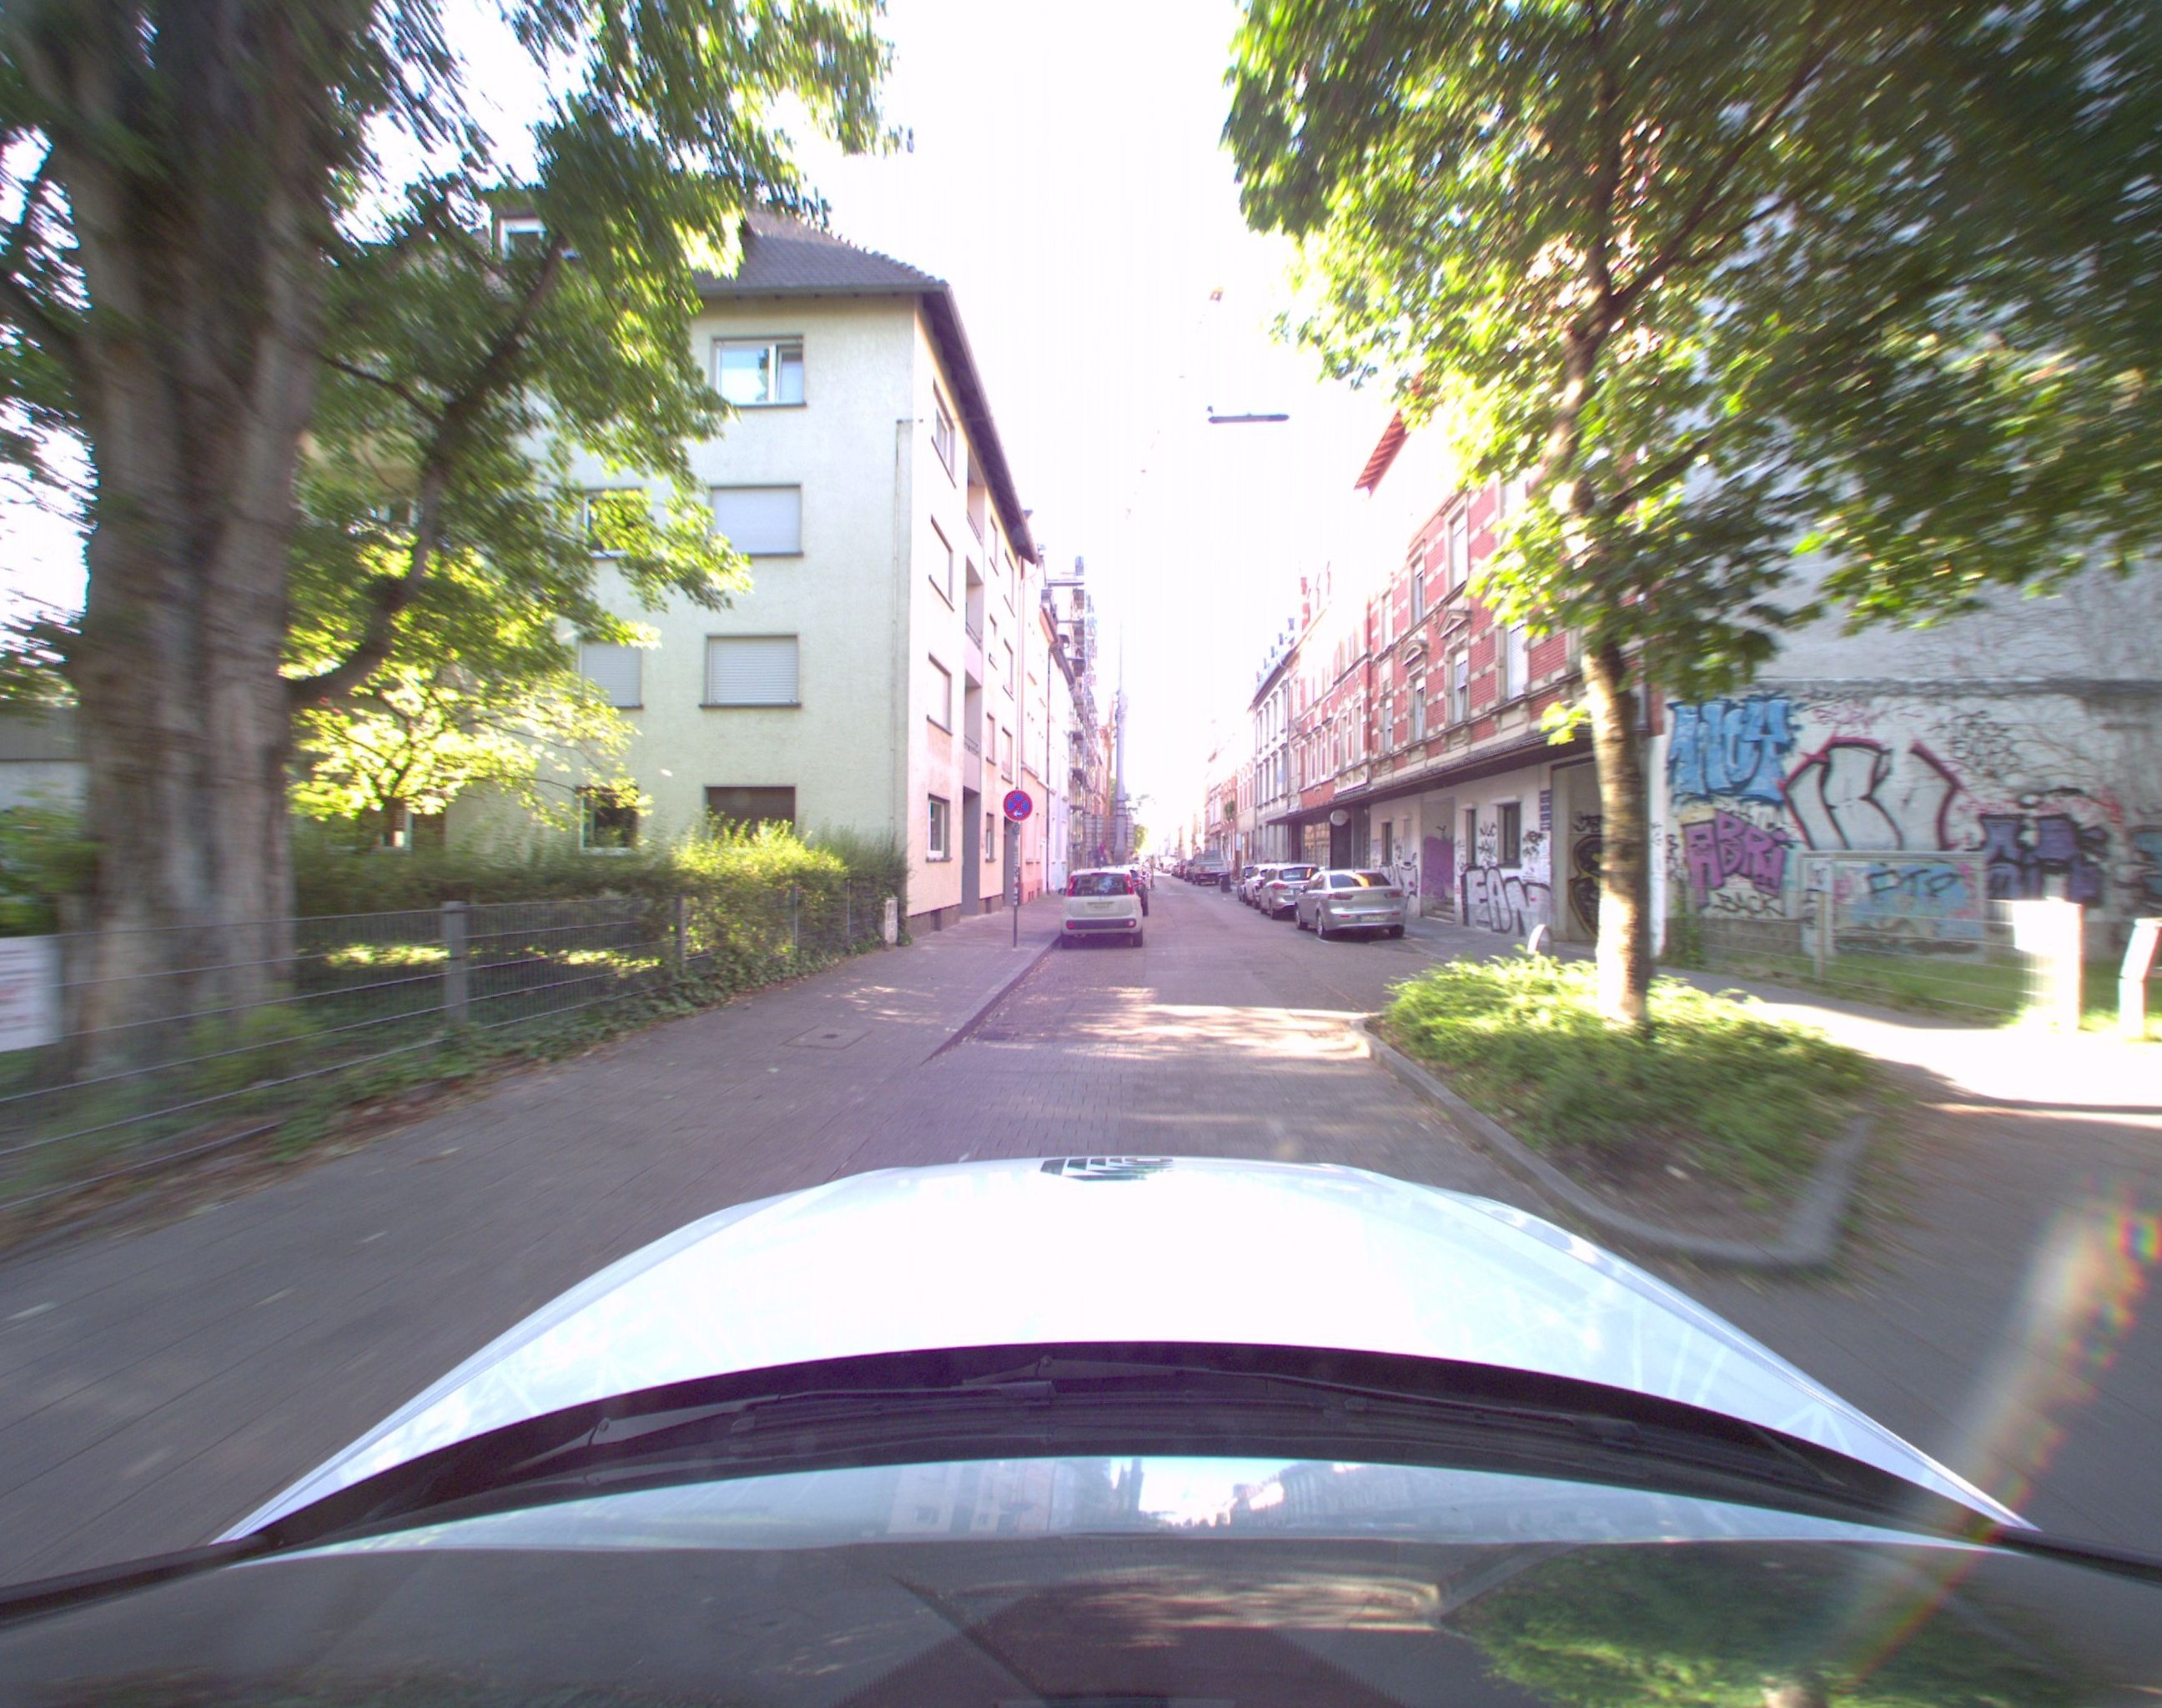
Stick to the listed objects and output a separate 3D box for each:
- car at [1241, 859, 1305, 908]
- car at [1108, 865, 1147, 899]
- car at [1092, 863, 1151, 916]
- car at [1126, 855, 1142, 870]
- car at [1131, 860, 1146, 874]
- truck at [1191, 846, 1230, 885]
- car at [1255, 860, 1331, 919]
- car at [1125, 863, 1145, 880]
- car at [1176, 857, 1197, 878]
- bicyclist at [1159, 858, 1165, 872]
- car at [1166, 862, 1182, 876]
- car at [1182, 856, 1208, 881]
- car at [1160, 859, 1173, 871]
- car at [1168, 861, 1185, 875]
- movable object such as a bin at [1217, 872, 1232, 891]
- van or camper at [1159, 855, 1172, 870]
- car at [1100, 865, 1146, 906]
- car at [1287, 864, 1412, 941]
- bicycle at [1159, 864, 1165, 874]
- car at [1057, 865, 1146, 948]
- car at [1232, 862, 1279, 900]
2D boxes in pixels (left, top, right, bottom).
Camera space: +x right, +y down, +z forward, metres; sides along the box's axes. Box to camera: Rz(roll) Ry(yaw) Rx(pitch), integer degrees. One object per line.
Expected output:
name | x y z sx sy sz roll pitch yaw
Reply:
car | 7.091 1.062 30.518 1.738 1.675 4.346 0 -1 5
car | 2.178 1.248 37.747 1.667 1.477 4.612 0 -1 4
car | 1.269 1.080 26.332 1.722 1.540 4.379 -1 -1 2
car | 5.784 0.906 89.174 1.668 1.571 3.871 0 -1 2
car | 6.633 1.463 94.320 1.668 1.571 3.871 0 -1 2
truck | 9.105 0.787 57.730 2.181 2.607 5.238 -1 -1 3
car | 6.395 1.020 24.893 1.632 1.656 3.874 0 -1 5
car | 4.632 1.519 70.187 1.668 1.445 3.871 0 -1 2
car | 10.454 1.354 80.705 1.668 2.031 3.871 0 -1 2
bicyclist | 10.142 1.408 101.688 0.727 1.761 0.836 1 0 4
car | 13.498 2.147 118.543 1.985 2.014 4.003 0 -1 3
car | 9.526 1.215 68.232 1.668 1.963 4.110 0 -1 2
car | 13.920 1.792 132.600 1.985 1.849 4.003 -1 -1 3
car | 11.049 1.565 94.175 1.668 1.571 3.871 0 -1 2
movable object such as a bin | 8.020 1.515 45.489 0.791 1.056 0.661 0 -1 4
van or camper | 15.238 1.537 147.150 1.987 2.508 4.201 -1 -1 0
car | 1.695 1.192 32.032 1.667 1.512 4.419 0 -1 4
car | 6.033 1.015 18.801 1.713 1.562 4.403 0 -1 4
bicycle | 10.130 1.909 101.689 0.721 1.186 2.045 1 0 4
car | 0.456 1.022 17.332 1.668 1.540 3.871 -1 -1 2
car | 7.614 1.157 35.724 1.589 1.560 3.819 -1 -1 6
